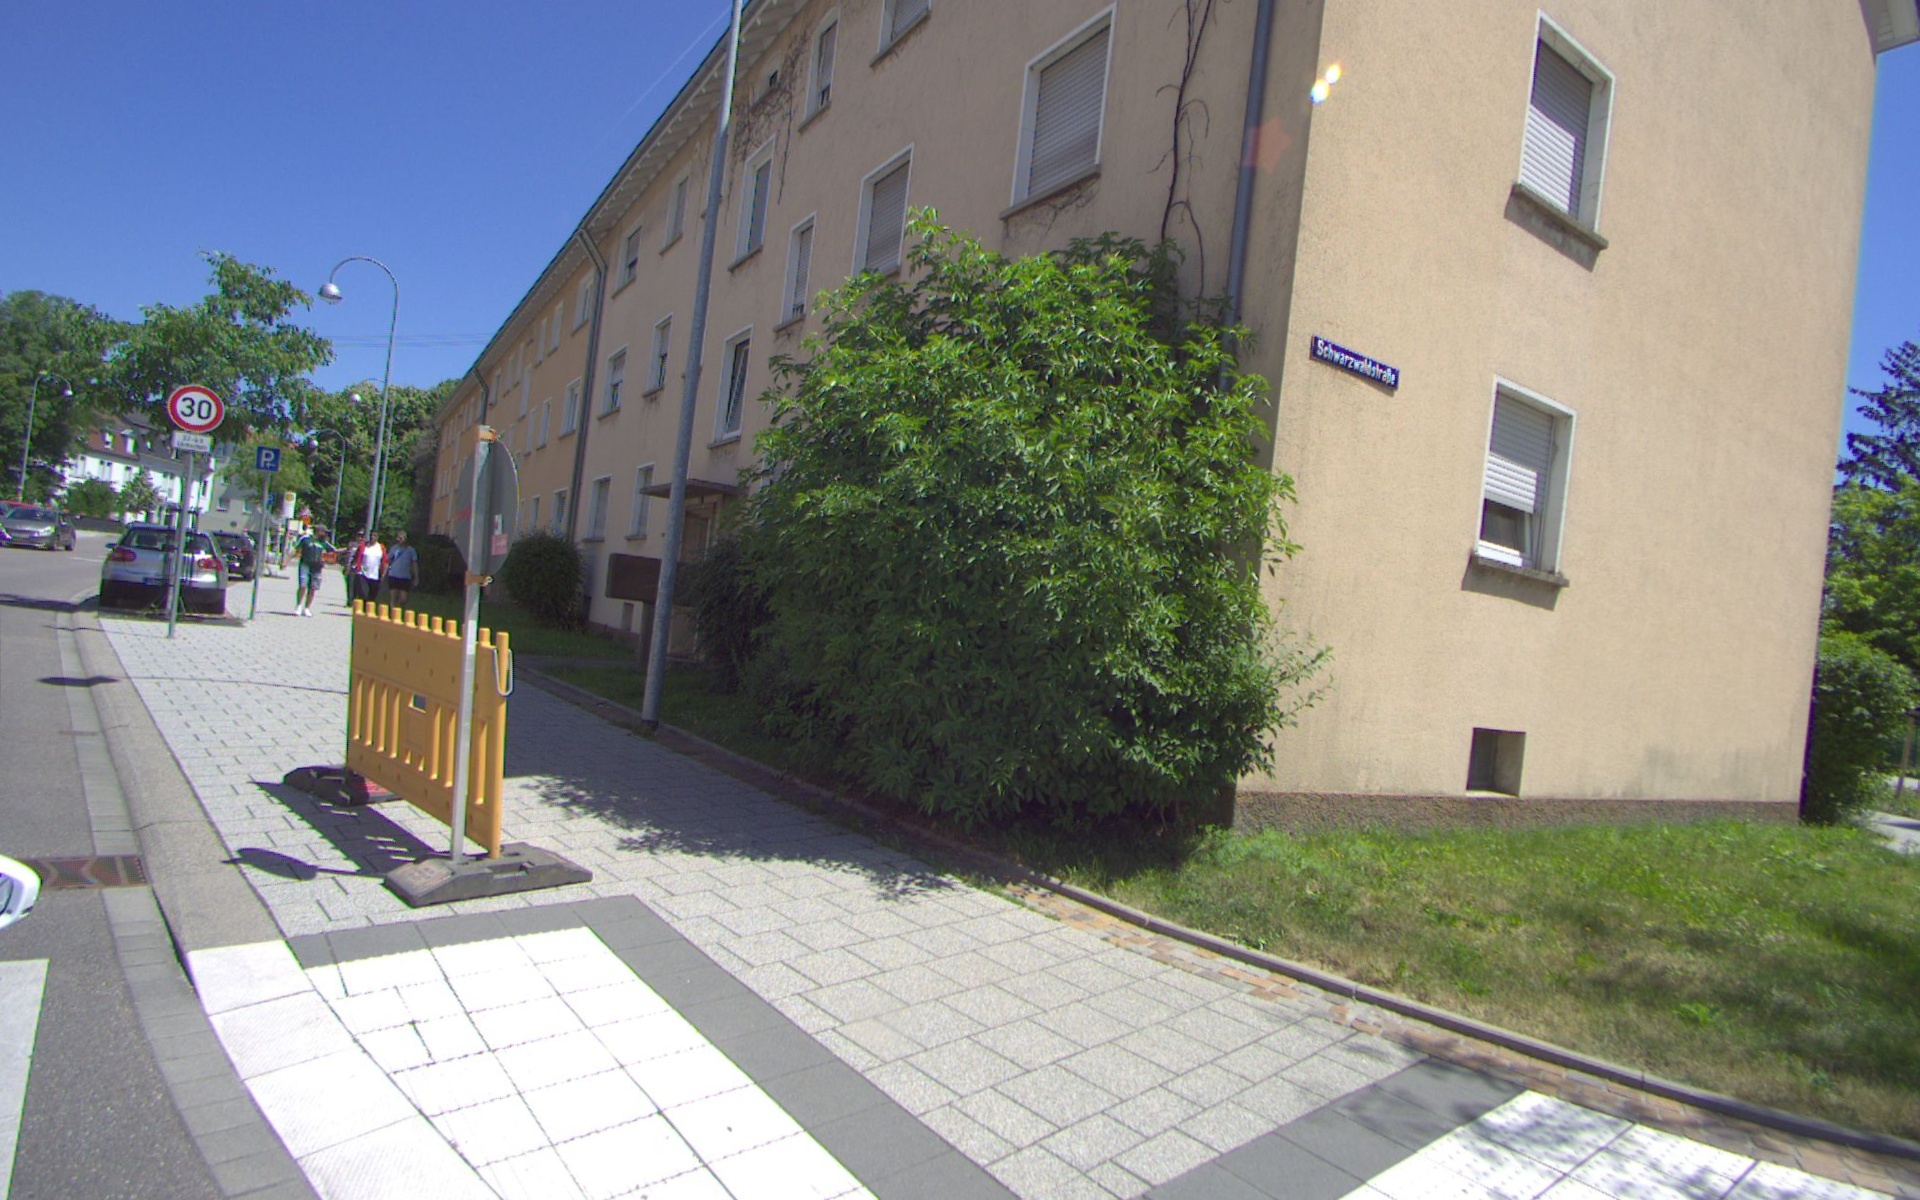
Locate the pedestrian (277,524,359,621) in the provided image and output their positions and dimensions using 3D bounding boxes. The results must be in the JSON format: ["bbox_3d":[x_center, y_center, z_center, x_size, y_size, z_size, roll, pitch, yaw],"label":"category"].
[{"bbox_3d":[-12.547,-0.522,19.642,1.164,1.755,1.179,4,0,-38],"label":"pedestrian"}]

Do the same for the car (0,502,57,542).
[{"bbox_3d":[-43.205,-3.592,46.045,1.868,1.495,4.697,11,-3,-33],"label":"car"}]

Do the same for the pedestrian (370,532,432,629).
[{"bbox_3d":[-11.090,-0.393,19.956,0.789,1.800,0.998,7,-1,-37],"label":"pedestrian"}]

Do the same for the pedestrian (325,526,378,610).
[{"bbox_3d":[-14.577,-0.771,24.095,0.816,1.876,0.974,7,-1,-37],"label":"pedestrian"}]

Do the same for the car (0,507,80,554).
[{"bbox_3d":[-32.981,-2.469,35.891,1.719,1.429,3.965,6,0,-33],"label":"car"}]

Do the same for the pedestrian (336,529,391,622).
[{"bbox_3d":[-12.453,-0.515,21.006,0.783,1.834,0.996,4,1,-37],"label":"pedestrian"}]

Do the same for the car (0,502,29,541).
[{"bbox_3d":[-40.019,-3.325,41.122,1.853,1.478,5.259,10,-2,-33],"label":"car"}]

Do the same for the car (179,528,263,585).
[{"bbox_3d":[-23.676,-1.420,32.384,1.821,1.523,5.019,5,0,-33],"label":"car"}]

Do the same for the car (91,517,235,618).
[{"bbox_3d":[-14.713,-0.608,18.723,1.803,1.494,4.463,6,-2,-37],"label":"car"}]
